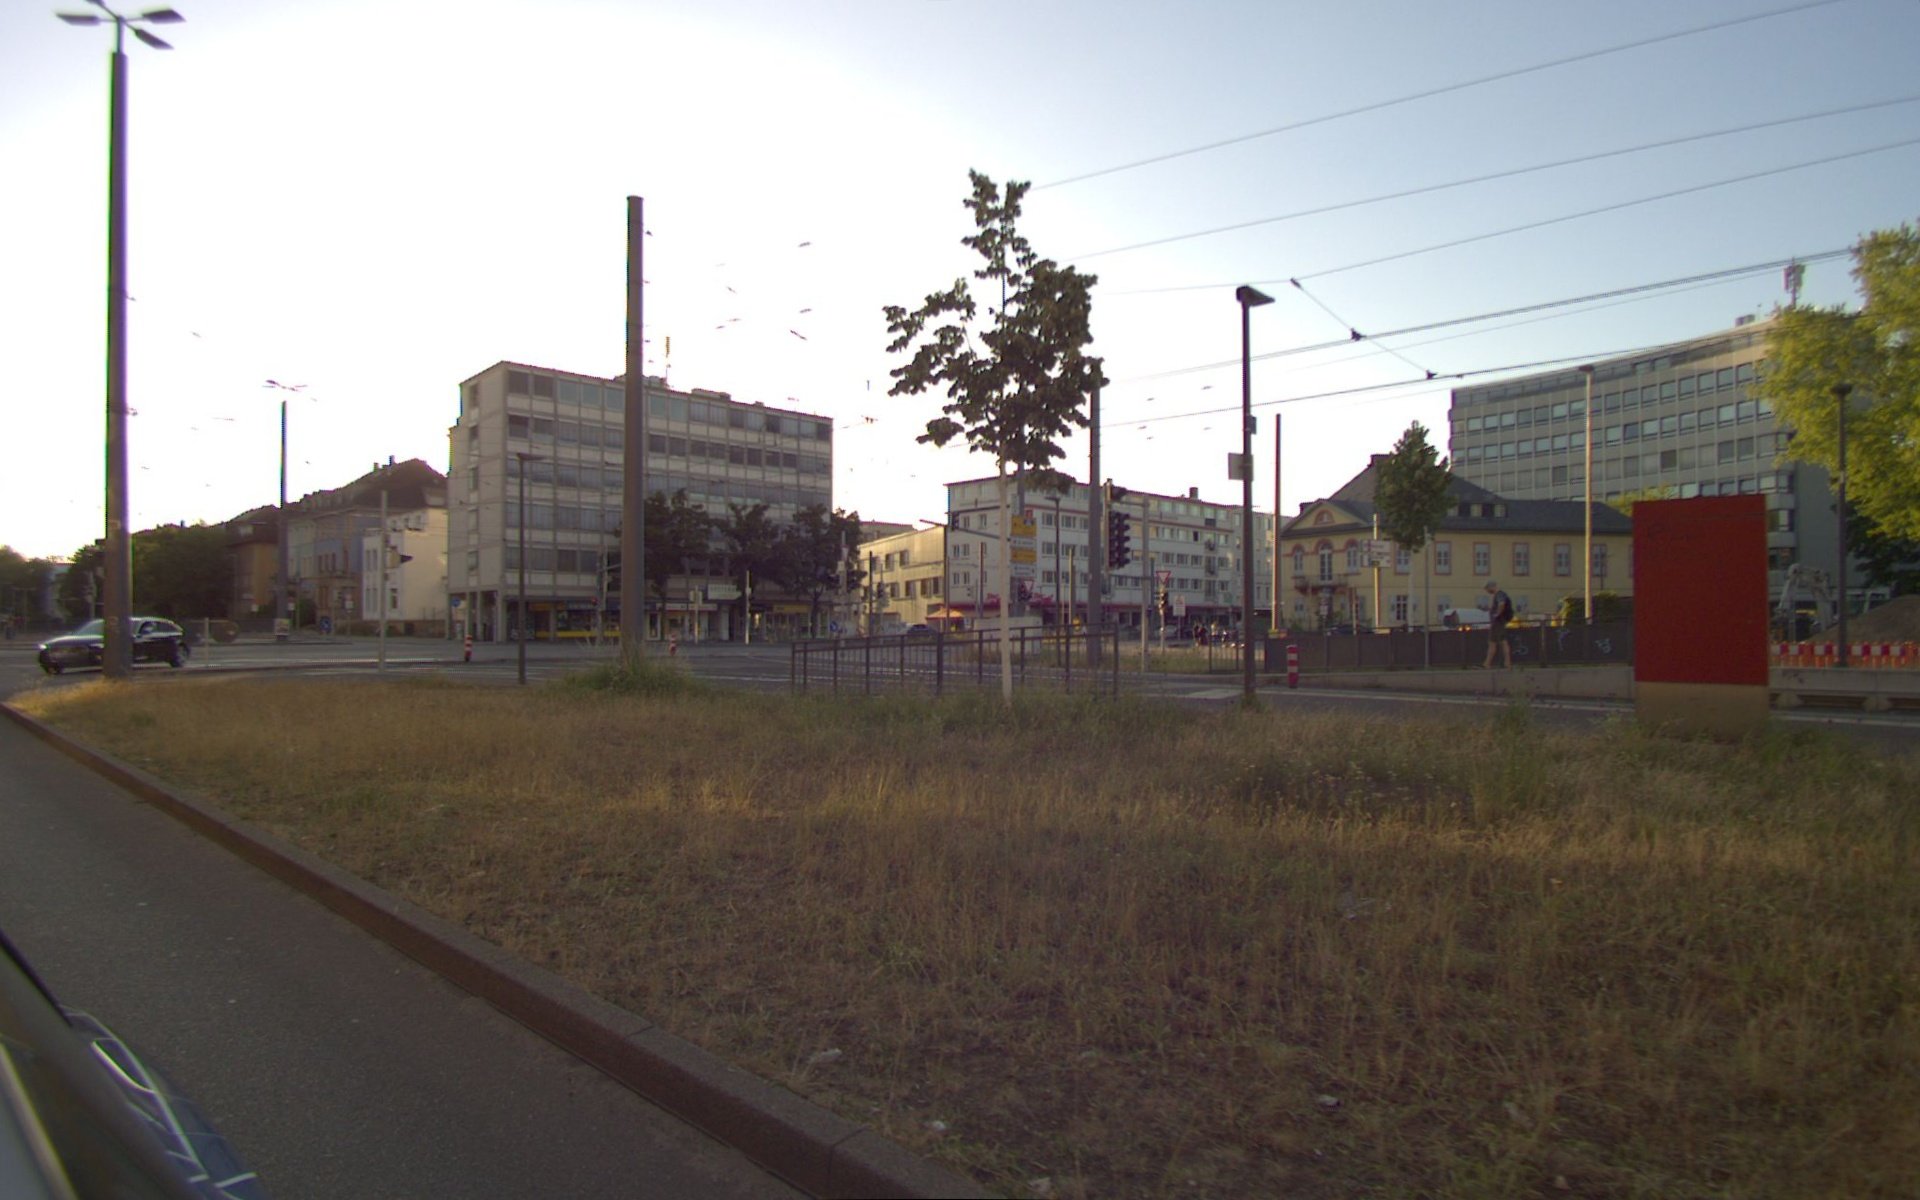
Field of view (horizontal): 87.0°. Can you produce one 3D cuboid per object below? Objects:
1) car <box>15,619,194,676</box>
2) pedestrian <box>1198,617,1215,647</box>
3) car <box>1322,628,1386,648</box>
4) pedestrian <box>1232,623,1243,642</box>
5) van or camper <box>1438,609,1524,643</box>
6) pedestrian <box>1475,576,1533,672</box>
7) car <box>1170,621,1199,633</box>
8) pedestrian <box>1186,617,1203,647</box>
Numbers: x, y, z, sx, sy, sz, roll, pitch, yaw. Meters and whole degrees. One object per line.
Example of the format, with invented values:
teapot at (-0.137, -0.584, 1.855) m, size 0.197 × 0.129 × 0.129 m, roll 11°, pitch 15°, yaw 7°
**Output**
car at (-23.096, 1.259, 27.553) m, size 1.822 × 1.418 × 4.233 m, roll 0°, pitch -2°, yaw -10°
pedestrian at (12.644, 1.654, 51.944) m, size 0.645 × 1.521 × 0.591 m, roll 3°, pitch -3°, yaw -44°
car at (26.673, 2.558, 68.549) m, size 3.530 × 1.286 × 1.856 m, roll 0°, pitch -2°, yaw -10°
pedestrian at (22.492, 2.605, 82.009) m, size 0.645 × 1.521 × 0.591 m, roll 3°, pitch -3°, yaw -42°
van or camper at (36.479, 1.823, 70.854) m, size 5.036 × 2.319 × 2.003 m, roll 0°, pitch -2°, yaw -7°
pedestrian at (10.500, 0.457, 19.541) m, size 0.817 × 1.812 × 0.686 m, roll -1°, pitch -1°, yaw 43°
car at (23.811, 2.838, 107.253) m, size 1.566 × 1.286 × 3.375 m, roll -1°, pitch -2°, yaw 42°
pedestrian at (12.158, 1.647, 52.420) m, size 0.645 × 1.521 × 0.591 m, roll 3°, pitch -3°, yaw -44°
